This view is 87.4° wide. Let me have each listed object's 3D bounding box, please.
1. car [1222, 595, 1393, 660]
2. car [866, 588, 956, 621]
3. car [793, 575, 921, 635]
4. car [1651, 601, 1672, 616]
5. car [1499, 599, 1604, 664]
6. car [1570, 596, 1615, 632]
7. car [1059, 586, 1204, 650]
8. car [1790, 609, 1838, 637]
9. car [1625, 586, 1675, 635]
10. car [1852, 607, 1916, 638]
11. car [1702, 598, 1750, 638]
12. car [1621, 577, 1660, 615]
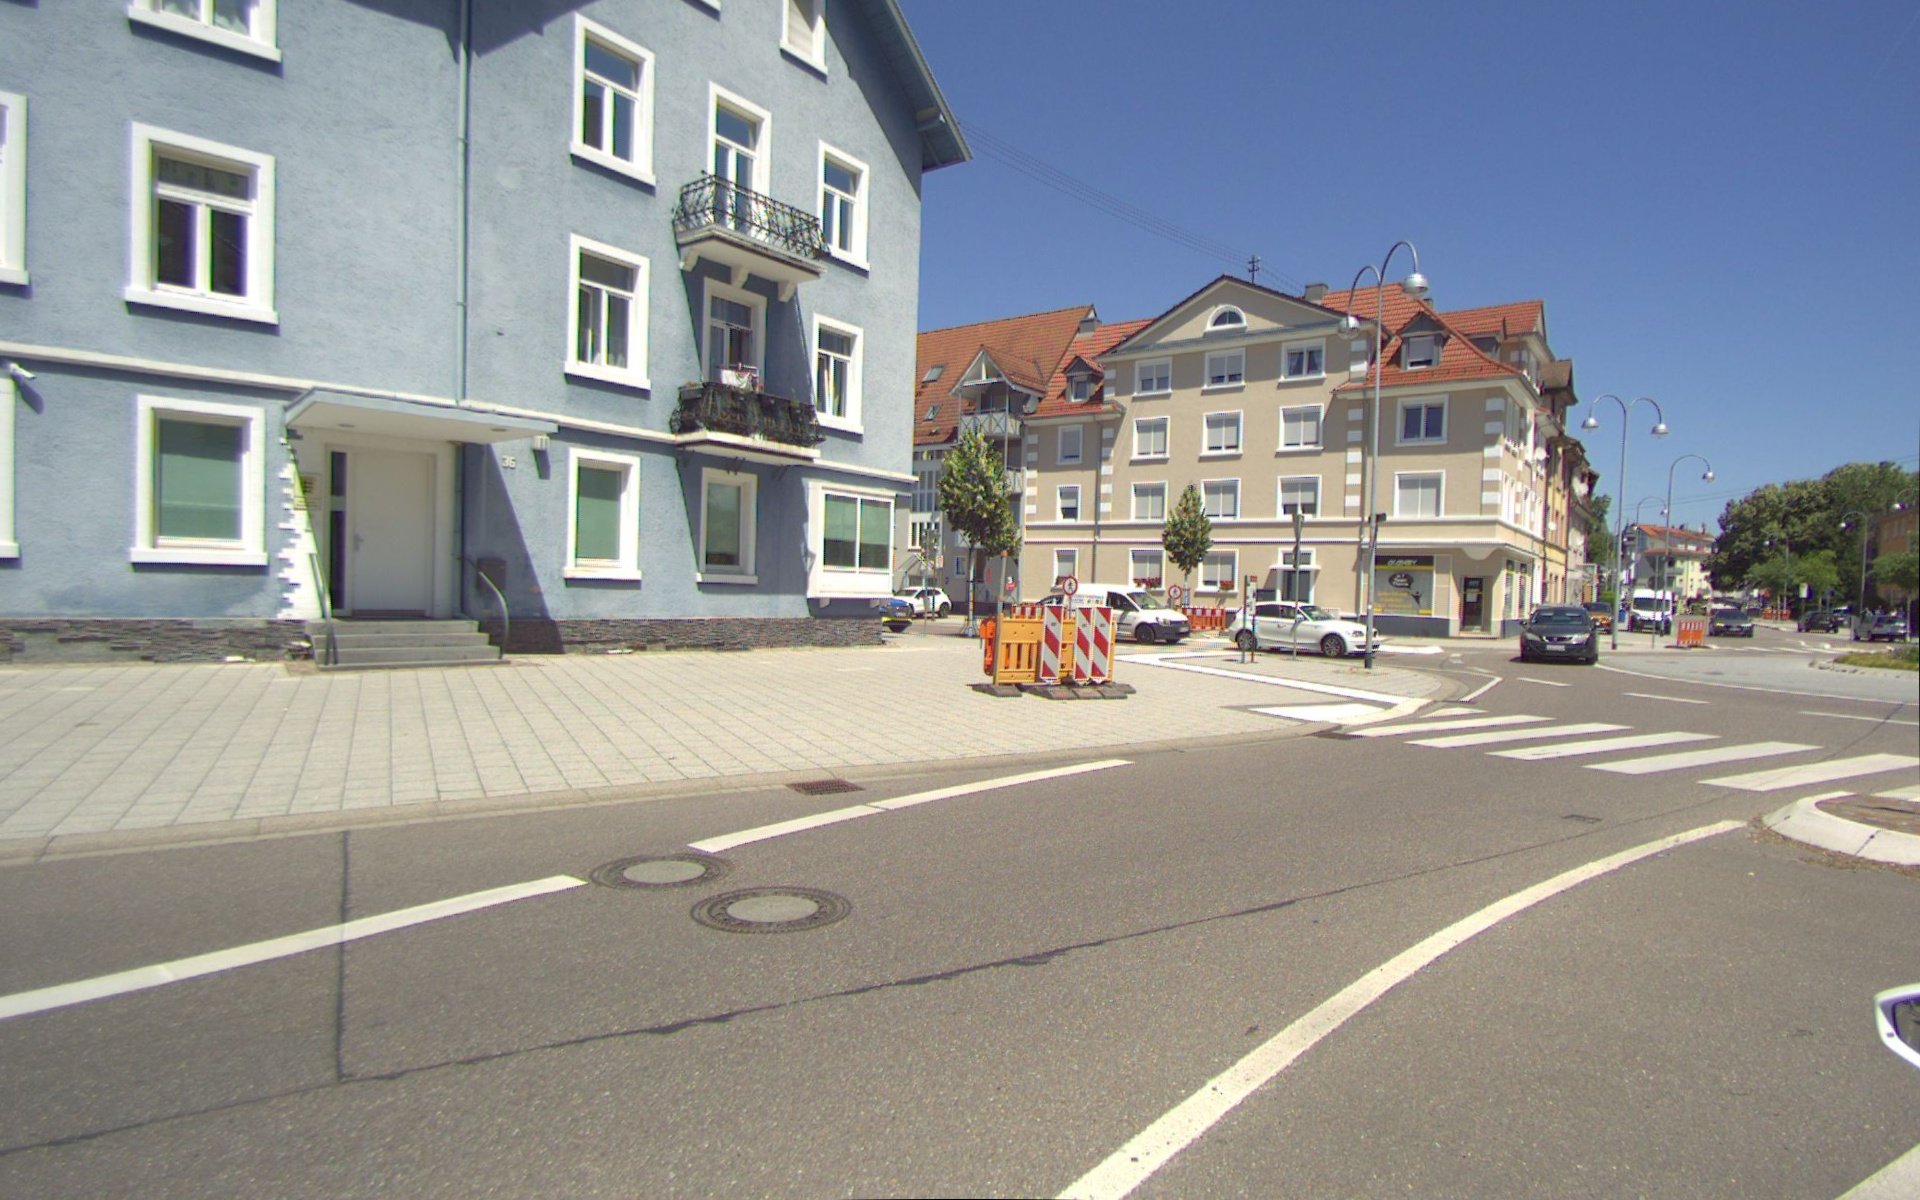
[{"bbox_3d":[9.480,0.714,27.628,1.774,1.571,4.077,1,0,-42],"label":"car"},{"bbox_3d":[-2.336,0.234,48.914,1.951,1.512,4.391,1,0,38],"label":"car"},{"bbox_3d":[-3.476,0.139,33.420,4.178,1.801,1.773,3,1,39],"label":"car"},{"bbox_3d":[91.837,1.051,131.554,1.786,1.818,3.991,4,2,31],"label":"car"},{"bbox_3d":[15.553,0.777,26.617,1.632,1.472,4.022,-1,1,19],"label":"car"},{"bbox_3d":[32.434,0.713,51.460,1.578,1.638,4.077,5,2,36],"label":"car"},{"bbox_3d":[5.369,0.515,31.720,4.182,1.801,1.772,3,1,42],"label":"car"},{"bbox_3d":[59.965,1.605,70.567,1.786,1.818,3.991,4,2,31],"label":"car"},{"bbox_3d":[40.113,0.593,58.484,2.115,2.567,6.219,4,2,34],"label":"car"},{"bbox_3d":[51.772,1.236,56.353,1.786,1.520,3.991,4,2,31],"label":"car"},{"bbox_3d":[42.825,0.998,56.110,1.969,2.041,3.983,4,2,38],"label":"car"},{"bbox_3d":[49.091,-0.268,72.512,2.115,2.567,4.841,4,2,34],"label":"car"}]
